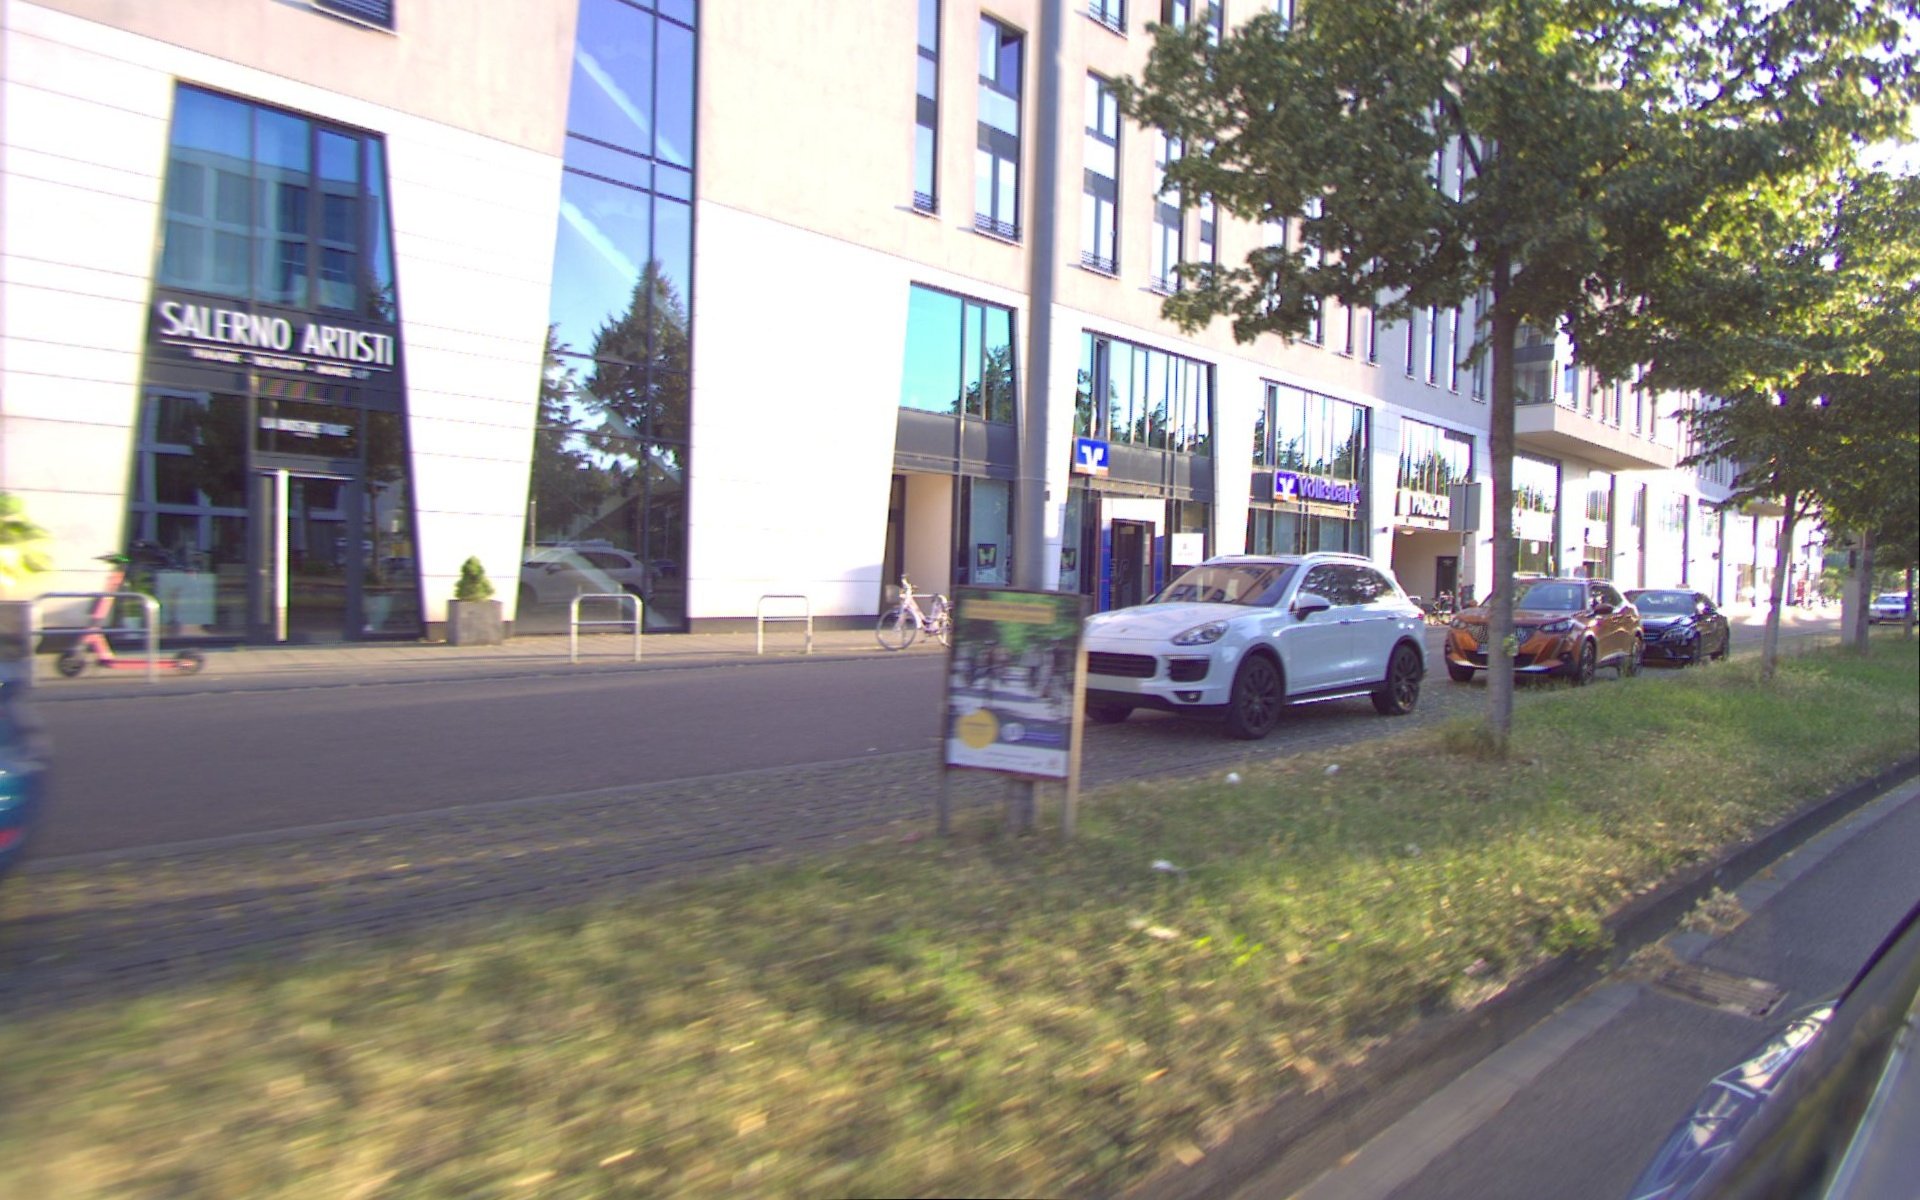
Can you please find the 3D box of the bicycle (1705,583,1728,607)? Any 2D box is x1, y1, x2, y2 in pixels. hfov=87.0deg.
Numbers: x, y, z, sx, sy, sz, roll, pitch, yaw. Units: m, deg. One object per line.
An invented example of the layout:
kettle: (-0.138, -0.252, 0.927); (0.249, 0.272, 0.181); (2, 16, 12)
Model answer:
bicycle: (38.902, -0.234, 52.060); (1.750, 1.178, 0.539); (0, 4, -42)

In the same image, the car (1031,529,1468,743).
car: (3.231, 0.261, 10.615); (5.068, 1.736, 1.955); (0, 1, -41)

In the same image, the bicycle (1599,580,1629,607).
bicycle: (26.332, -0.269, 40.744); (1.825, 1.074, 0.534); (0, 2, -42)

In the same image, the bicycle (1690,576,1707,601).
bicycle: (34.145, -0.535, 46.796); (0.532, 1.073, 1.833); (5, 4, 35)

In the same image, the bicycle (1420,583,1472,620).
bicycle: (14.422, 0.026, 29.998); (2.020, 1.051, 0.654); (0, 2, -42)

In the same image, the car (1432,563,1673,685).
car: (8.871, 0.274, 14.991); (4.406, 1.549, 1.857); (0, 1, -42)

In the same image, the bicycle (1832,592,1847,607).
bicycle: (66.942, -0.053, 76.988); (2.223, 1.046, 0.621); (0, 2, -43)

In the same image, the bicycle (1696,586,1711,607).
bicycle: (38.471, -0.190, 52.397); (0.532, 1.073, 1.833); (5, 4, 35)

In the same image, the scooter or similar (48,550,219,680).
scooter or similar: (-8.153, 0.135, 10.025); (1.287, 1.201, 0.357); (0, 3, -41)

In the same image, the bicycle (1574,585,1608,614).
bicycle: (24.299, -0.020, 38.958); (1.825, 1.073, 0.534); (0, 4, -42)

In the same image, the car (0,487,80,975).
car: (-5.019, 0.411, 2.563); (4.195, 1.549, 1.726); (0, 1, -42)

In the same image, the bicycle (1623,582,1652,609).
bicycle: (28.507, -0.197, 42.583); (1.825, 1.073, 0.534); (0, 4, -42)

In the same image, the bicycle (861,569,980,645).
bicycle: (-0.626, 0.113, 16.201); (1.797, 1.138, 0.573); (1, 3, -31)

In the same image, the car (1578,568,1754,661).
car: (13.996, 0.216, 19.938); (4.732, 1.568, 1.945); (0, 3, -44)

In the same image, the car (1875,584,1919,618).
car: (45.475, 0.032, 48.625); (4.743, 1.519, 1.811); (0, 2, -43)

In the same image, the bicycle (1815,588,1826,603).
bicycle: (62.777, -0.355, 73.838); (0.533, 1.073, 1.588); (3, 2, 42)
